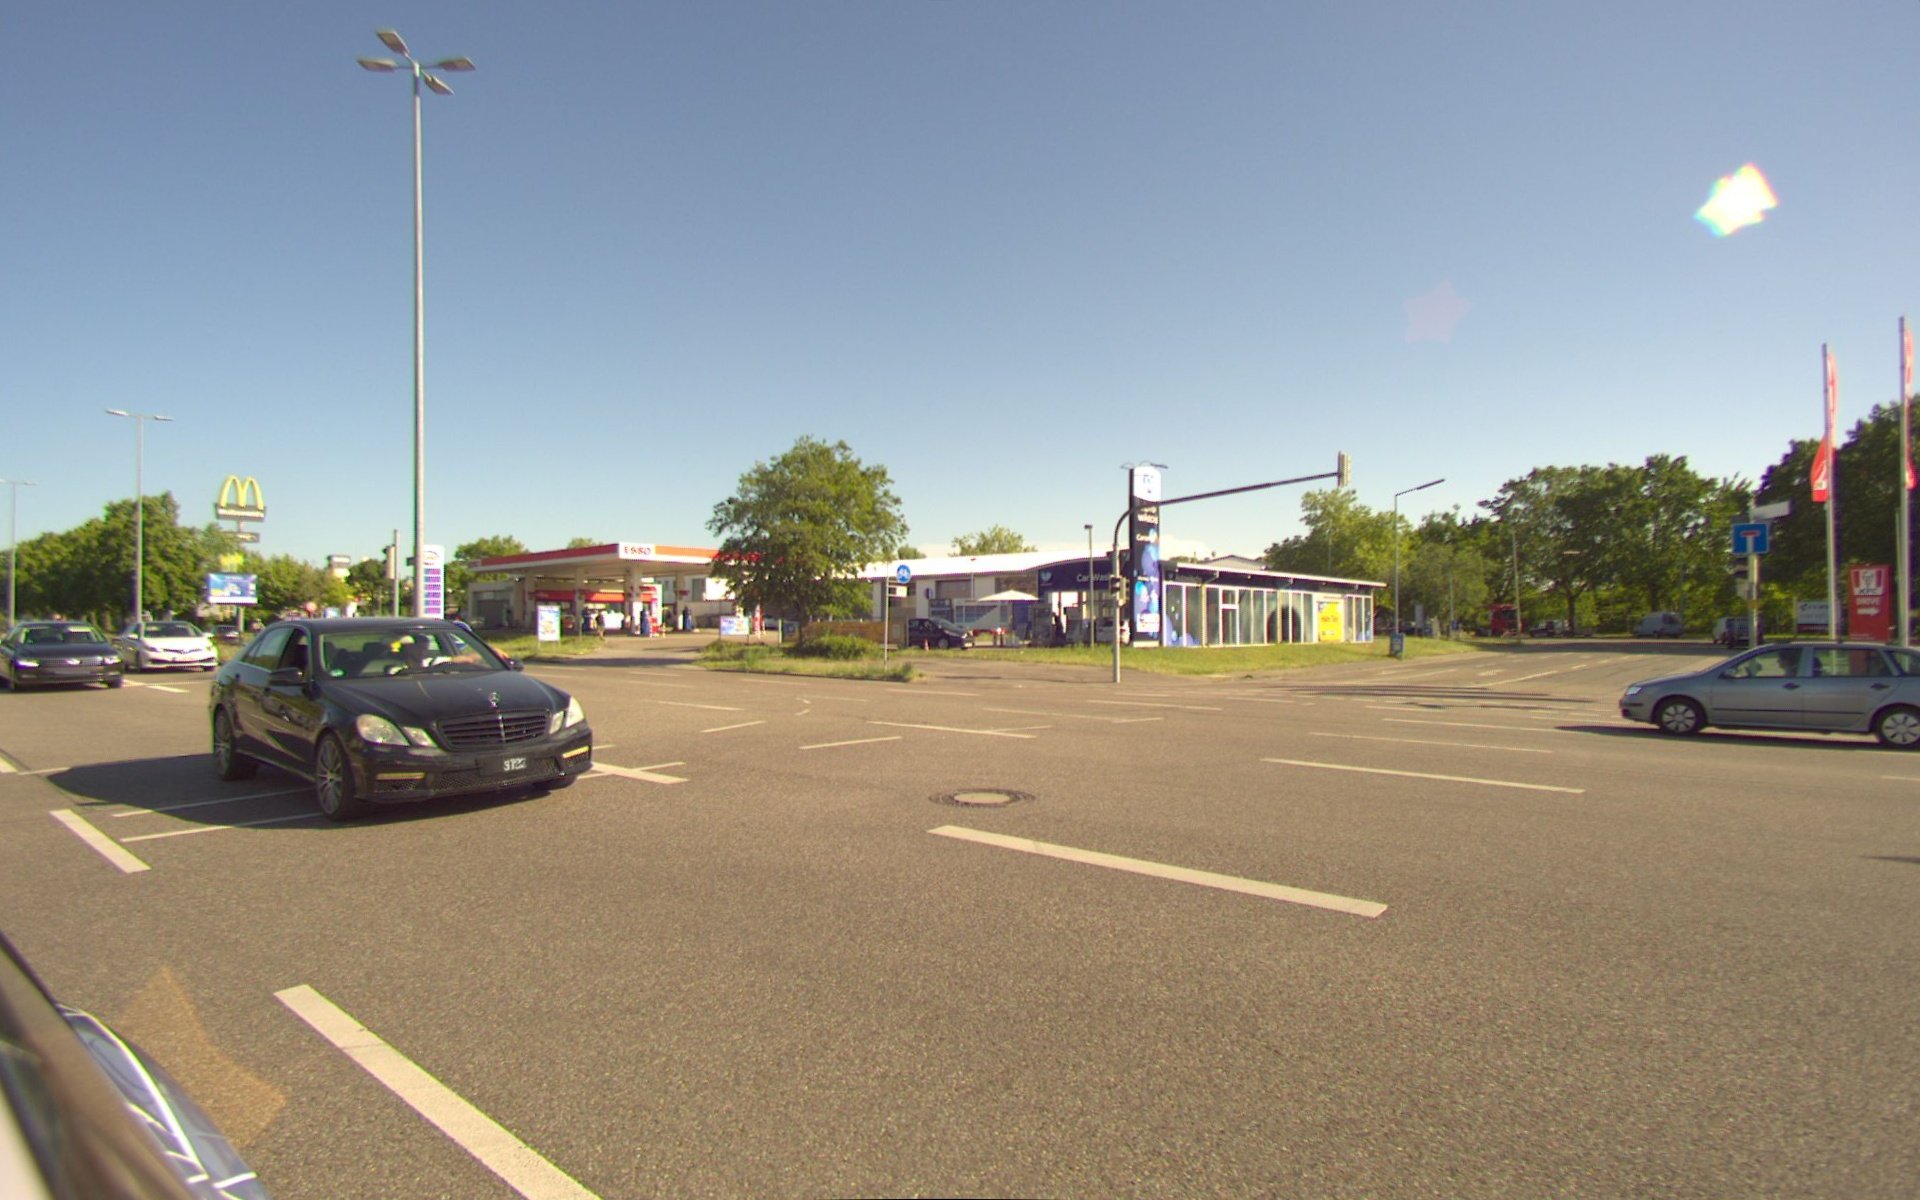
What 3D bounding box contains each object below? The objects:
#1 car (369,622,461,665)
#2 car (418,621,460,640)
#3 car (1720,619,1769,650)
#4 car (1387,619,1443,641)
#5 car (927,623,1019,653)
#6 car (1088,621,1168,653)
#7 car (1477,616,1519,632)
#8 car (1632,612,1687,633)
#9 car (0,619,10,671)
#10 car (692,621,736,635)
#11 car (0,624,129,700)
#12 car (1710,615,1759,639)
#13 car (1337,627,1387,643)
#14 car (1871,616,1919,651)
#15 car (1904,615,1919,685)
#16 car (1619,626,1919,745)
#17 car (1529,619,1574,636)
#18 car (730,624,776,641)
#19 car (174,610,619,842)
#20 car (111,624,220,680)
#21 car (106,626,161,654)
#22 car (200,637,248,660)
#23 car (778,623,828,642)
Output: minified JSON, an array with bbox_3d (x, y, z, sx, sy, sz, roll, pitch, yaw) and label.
[{"bbox_3d":[-21.847,1.728,40.511,4.265,1.612,1.875,-1,-3,42],"label":"car"},{"bbox_3d":[-45.681,2.693,88.724,4.116,1.625,1.740,-1,-3,40],"label":"car"},{"bbox_3d":[49.505,2.194,63.906,1.903,1.857,4.254,-1,-2,31],"label":"car"},{"bbox_3d":[36.615,2.426,81.416,3.694,1.681,1.882,-1,-3,44],"label":"car"},{"bbox_3d":[0.590,1.787,47.628,4.116,1.335,1.876,-1,-3,40],"label":"car"},{"bbox_3d":[7.974,1.763,47.922,1.900,1.443,4.063,-1,-3,41],"label":"car"},{"bbox_3d":[64.704,2.866,121.773,2.069,1.813,4.793,1,-2,-6],"label":"car"},{"bbox_3d":[62.195,2.015,90.088,2.077,1.813,4.775,0,-2,8],"label":"car"},{"bbox_3d":[-33.240,1.493,33.666,4.694,1.696,1.973,-1,0,41],"label":"car"},{"bbox_3d":[-22.655,2.596,93.117,4.116,1.236,1.876,-1,-3,40],"label":"car"},{"bbox_3d":[-19.637,1.273,21.978,4.264,1.464,1.824,-2,-1,42],"label":"car"},{"bbox_3d":[56.349,2.006,73.724,1.898,1.681,4.264,0,-2,24],"label":"car"},{"bbox_3d":[36.744,3.203,92.591,4.087,1.443,1.889,0,-2,19],"label":"car"},{"bbox_3d":[51.096,1.789,53.435,1.880,1.857,4.304,1,-2,-5],"label":"car"},{"bbox_3d":[27.459,1.299,26.419,3.778,1.864,1.847,-1,0,1],"label":"car"},{"bbox_3d":[12.133,1.160,14.572,4.194,1.537,1.973,-2,-3,41],"label":"car"},{"bbox_3d":[65.205,3.098,111.621,2.072,1.813,4.786,1,-2,0],"label":"car"},{"bbox_3d":[-18.126,2.860,88.463,4.116,1.451,1.750,-2,-2,40],"label":"car"},{"bbox_3d":[-5.165,0.867,8.917,4.916,1.494,1.938,-2,-1,42],"label":"car"},{"bbox_3d":[-22.764,1.438,28.947,4.115,1.466,1.767,-2,-2,42],"label":"car"},{"bbox_3d":[-44.155,2.138,54.018,3.663,1.443,1.677,-1,-3,42],"label":"car"},{"bbox_3d":[-49.384,3.229,67.884,4.457,1.443,1.677,-1,-3,42],"label":"car"},{"bbox_3d":[-13.108,2.709,84.490,4.116,1.603,1.876,-1,-3,40],"label":"car"}]
